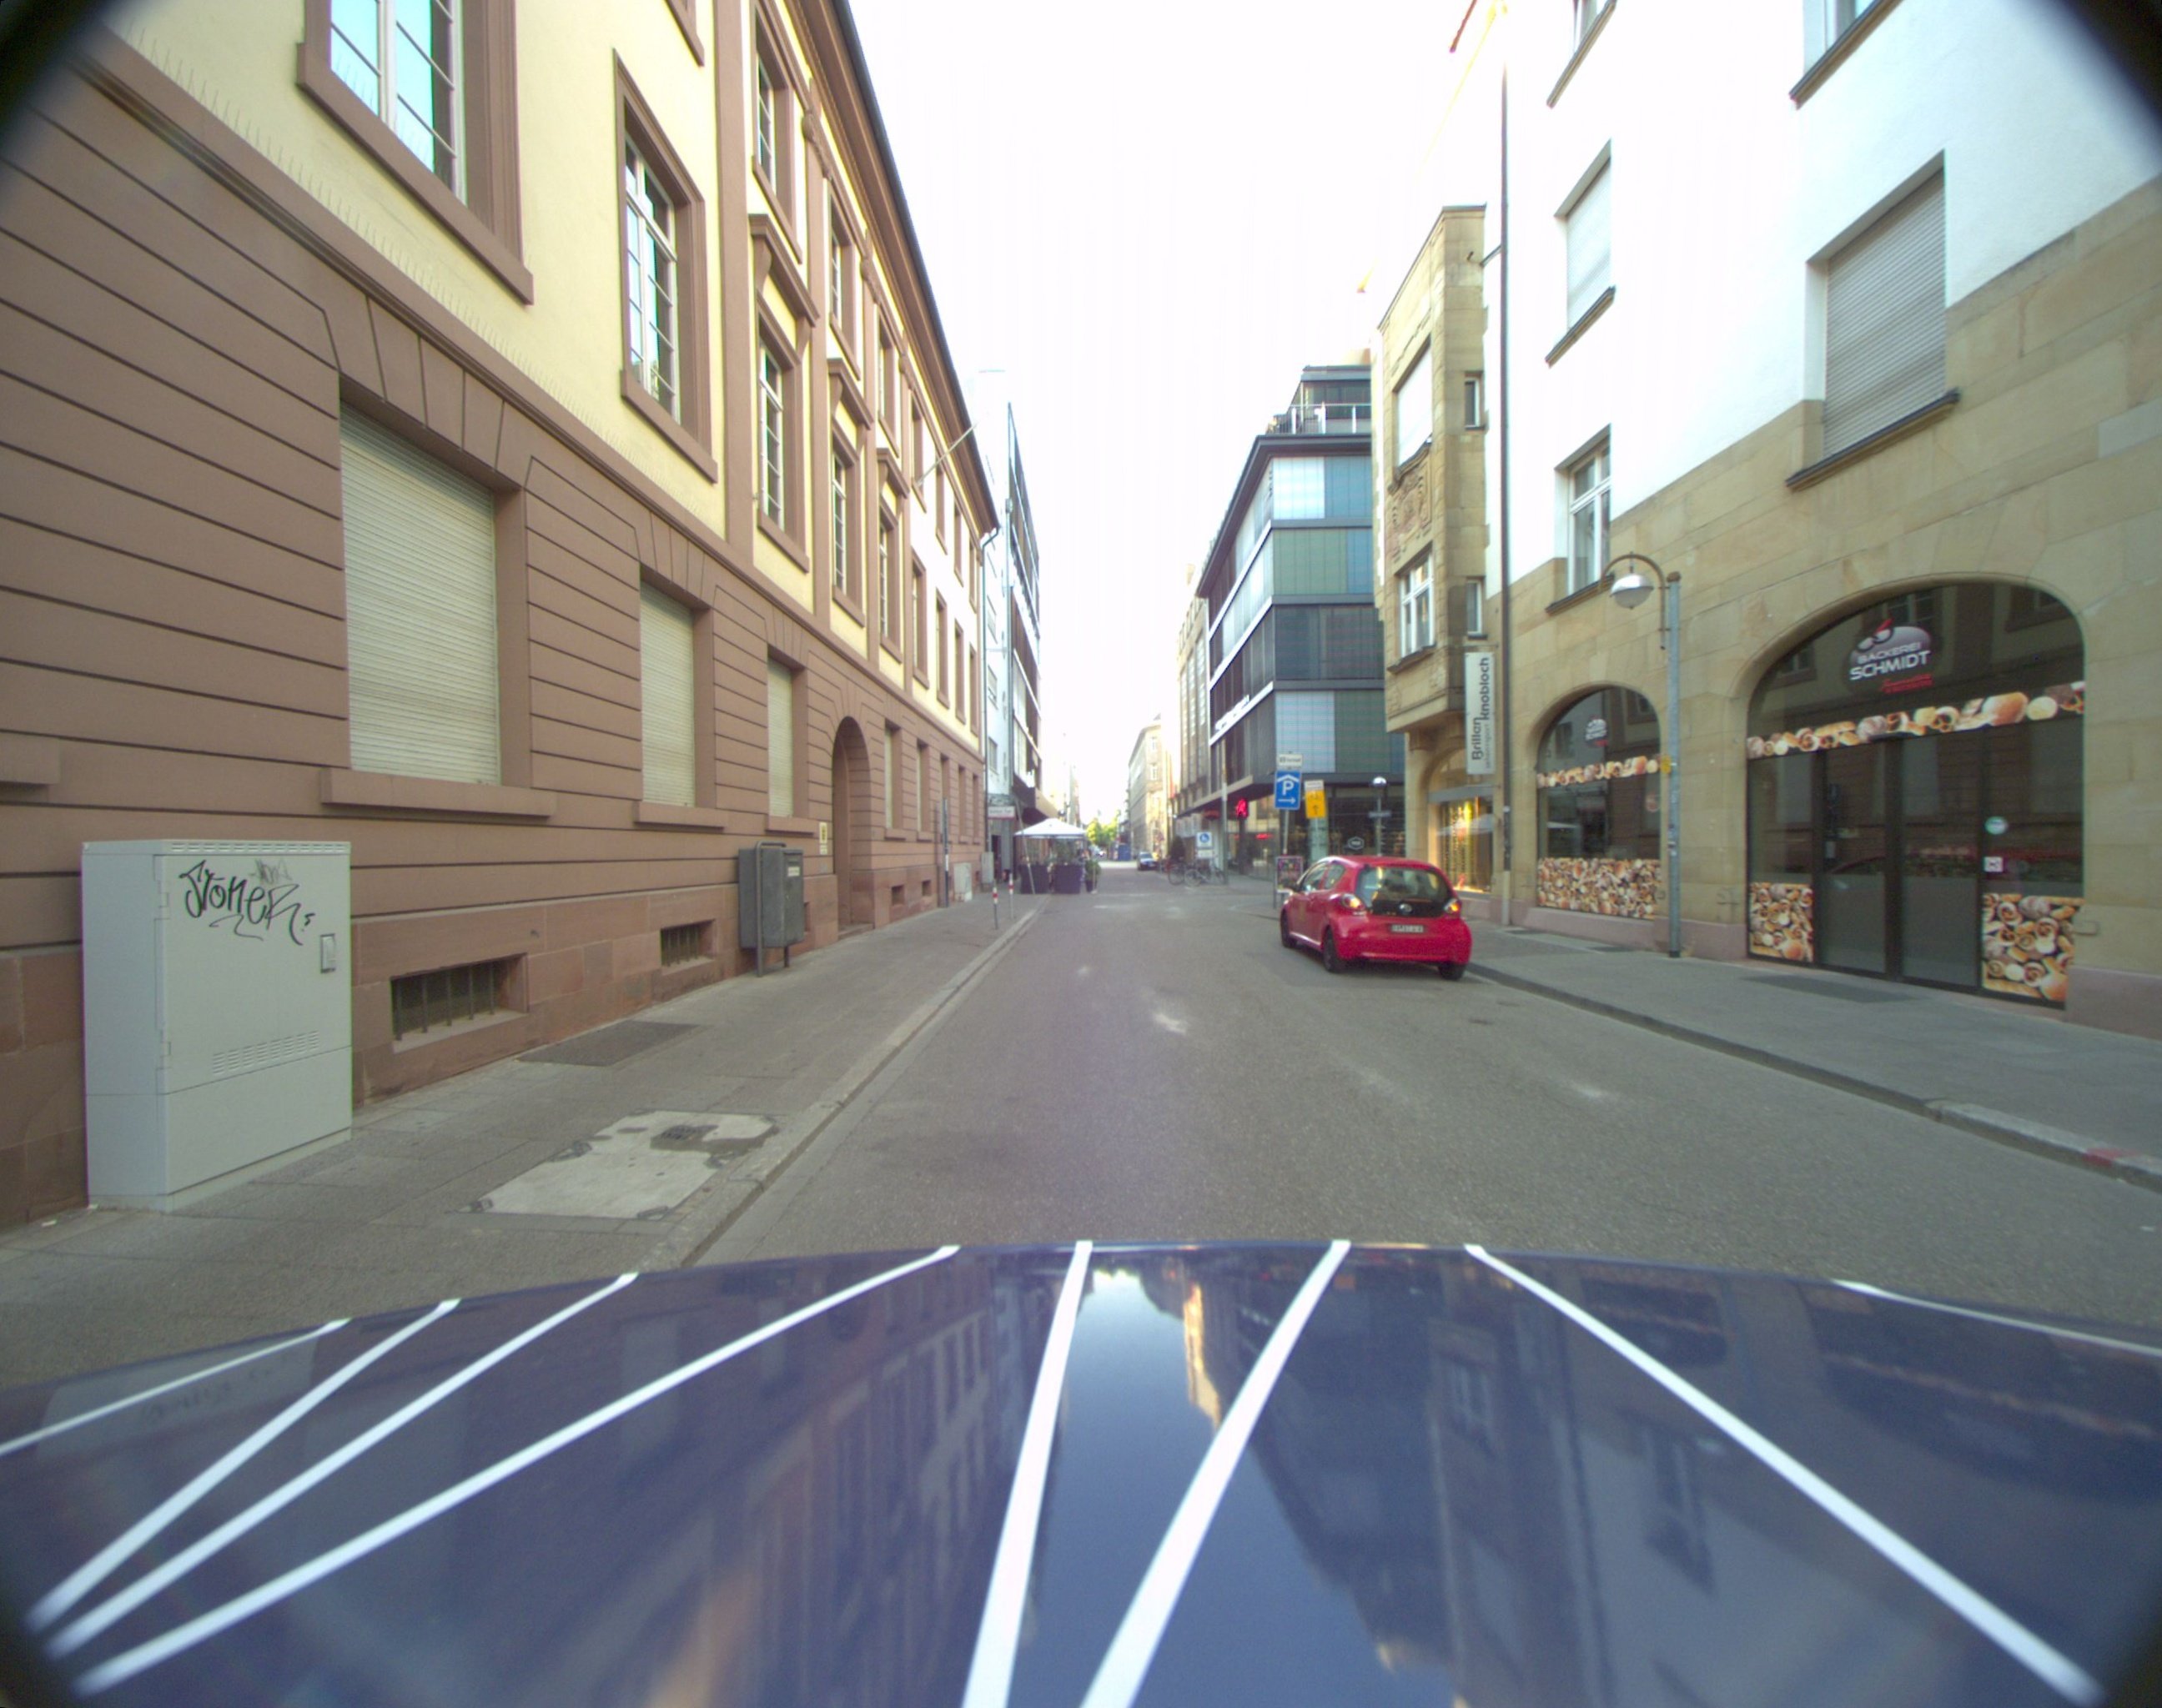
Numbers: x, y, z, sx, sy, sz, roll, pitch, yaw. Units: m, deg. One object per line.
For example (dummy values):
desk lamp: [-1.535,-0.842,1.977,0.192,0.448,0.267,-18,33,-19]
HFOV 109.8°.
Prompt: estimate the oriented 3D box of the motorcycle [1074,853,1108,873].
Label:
motorcycle: [0.650,0.572,50.410,2.192,1.275,0.651,1,1,3]

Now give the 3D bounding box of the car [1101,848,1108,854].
car: [5.049,-0.643,162.192,1.426,1.090,3.563,-1,1,1]

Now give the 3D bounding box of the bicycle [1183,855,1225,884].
bicycle: [4.949,0.621,30.698,1.607,1.112,0.620,-1,1,2]

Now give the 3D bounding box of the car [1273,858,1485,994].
car: [3.796,0.833,10.246,1.637,1.433,3.157,3,1,2]

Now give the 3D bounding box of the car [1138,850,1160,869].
car: [5.290,0.421,59.226,1.426,1.409,3.895,-1,1,1]

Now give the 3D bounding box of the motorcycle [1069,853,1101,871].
motorcycle: [0.269,0.551,53.105,2.192,1.275,0.651,1,1,3]

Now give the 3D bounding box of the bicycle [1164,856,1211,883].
bicycle: [4.616,0.684,33.058,1.952,1.124,0.620,-1,1,2]

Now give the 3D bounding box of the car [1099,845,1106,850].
car: [4.992,-1.513,177.338,1.426,1.259,3.562,-1,1,0]

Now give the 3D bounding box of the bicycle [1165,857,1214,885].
bicycle: [4.577,0.697,32.152,1.952,1.124,0.620,-1,1,2]

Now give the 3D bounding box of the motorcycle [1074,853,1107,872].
motorcycle: [0.625,0.562,51.374,2.192,1.275,0.651,1,1,3]

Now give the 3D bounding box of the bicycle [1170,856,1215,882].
bicycle: [5.111,0.667,34.852,1.952,1.124,0.526,-1,1,2]
